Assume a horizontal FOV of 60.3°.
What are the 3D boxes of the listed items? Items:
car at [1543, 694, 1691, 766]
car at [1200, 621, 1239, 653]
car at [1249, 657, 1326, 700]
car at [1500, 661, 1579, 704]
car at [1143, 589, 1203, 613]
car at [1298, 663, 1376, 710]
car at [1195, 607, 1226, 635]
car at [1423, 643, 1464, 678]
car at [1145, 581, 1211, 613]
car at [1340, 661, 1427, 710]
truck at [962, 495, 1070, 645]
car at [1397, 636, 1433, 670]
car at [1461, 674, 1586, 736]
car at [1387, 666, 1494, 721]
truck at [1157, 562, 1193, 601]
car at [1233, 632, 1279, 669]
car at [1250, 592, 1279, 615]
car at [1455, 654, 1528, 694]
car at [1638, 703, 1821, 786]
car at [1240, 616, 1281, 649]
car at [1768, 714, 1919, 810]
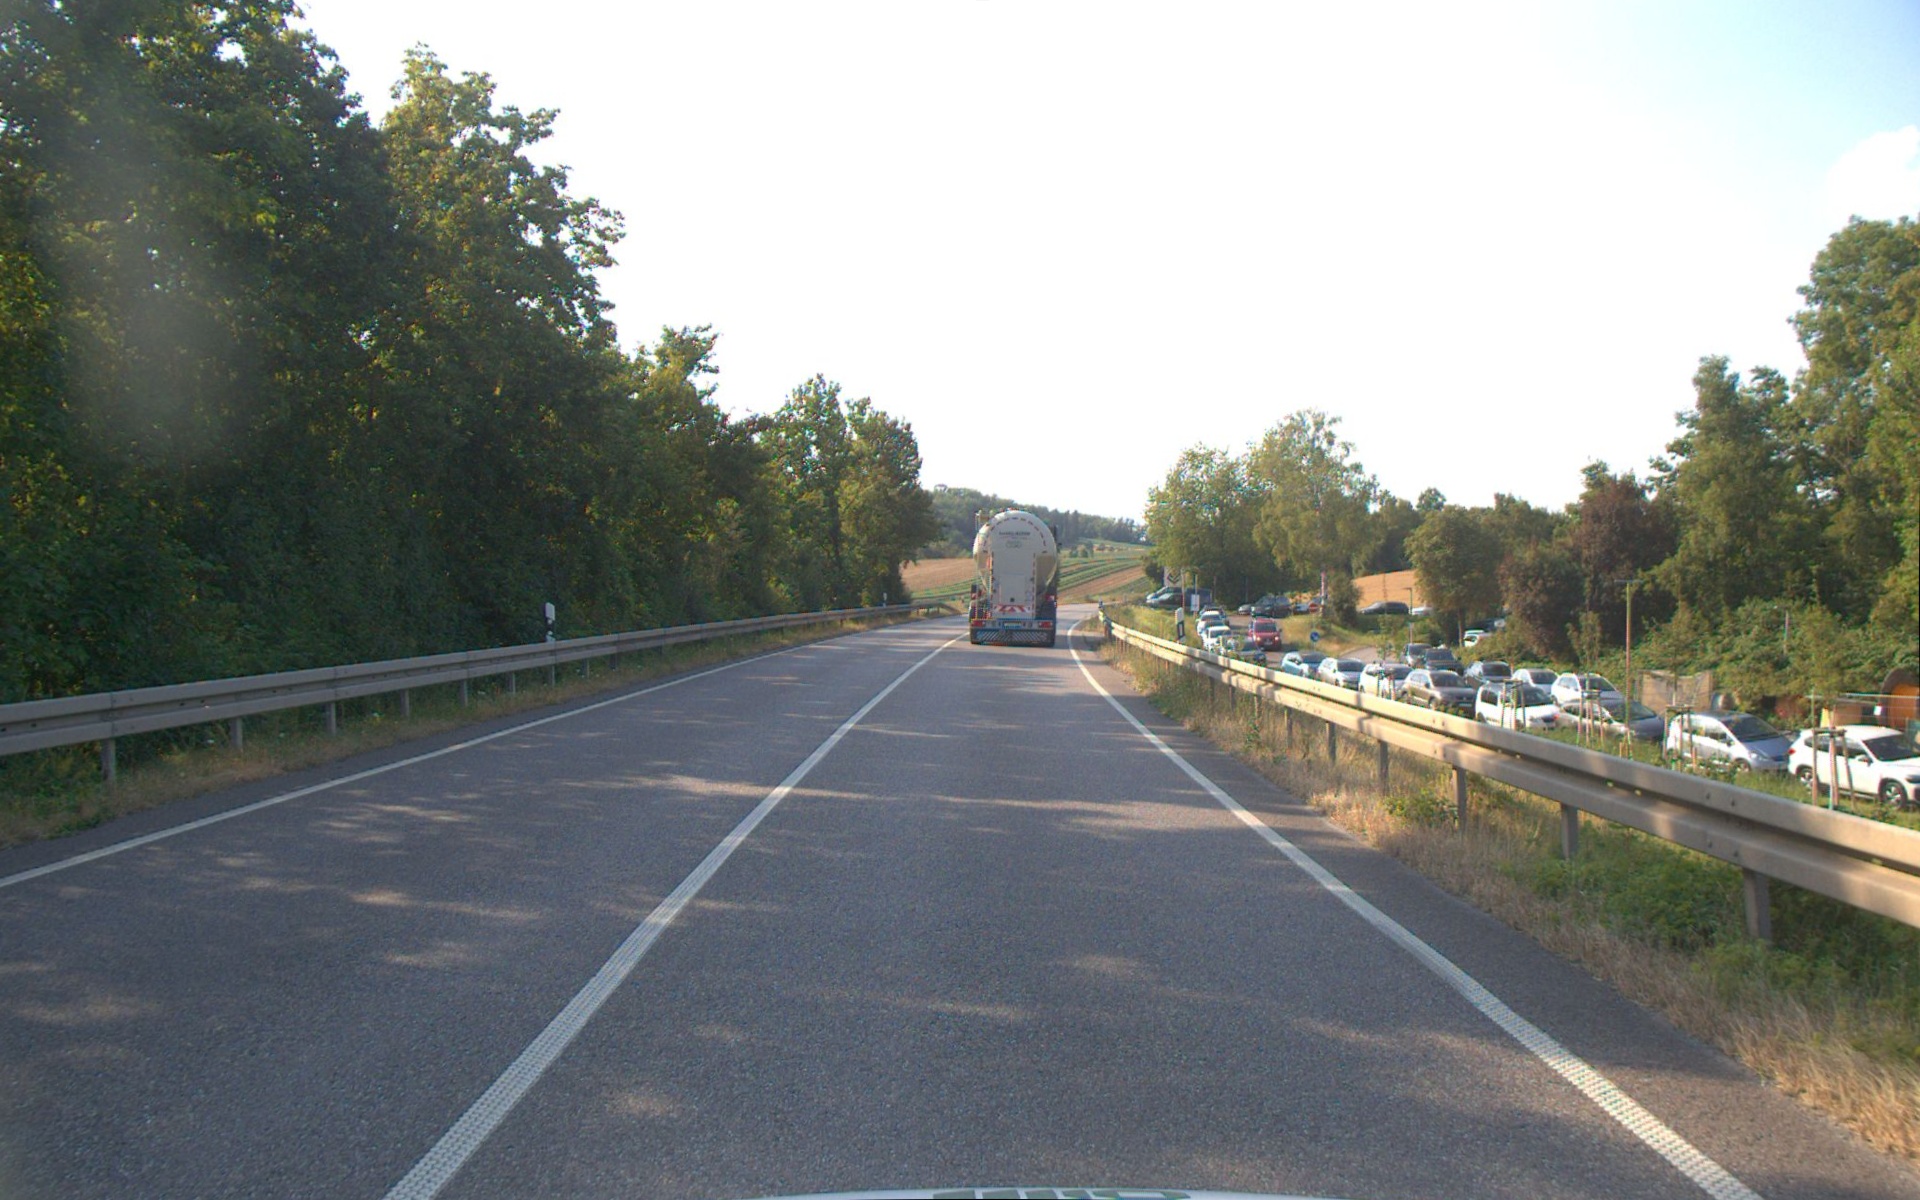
[{"bbox_3d":[19.953,3.918,50.475,1.859,1.586,4.769,-3,2,-11],"label":"car"},{"bbox_3d":[15.974,2.233,102.082,1.852,1.586,4.786,-3,2,3],"label":"car"},{"bbox_3d":[15.666,3.714,79.346,1.859,1.586,4.769,-3,2,-11],"label":"car"},{"bbox_3d":[23.488,3.332,67.179,1.667,1.423,3.943,-3,0,-2],"label":"car"},{"bbox_3d":[16.408,0.082,127.557,4.246,1.423,1.712,4,2,-19],"label":"car"},{"bbox_3d":[16.673,3.816,73.370,1.856,1.586,4.776,-3,2,-7],"label":"car"},{"bbox_3d":[17.177,1.416,113.376,1.851,1.586,4.788,-3,2,11],"label":"car"},{"bbox_3d":[24.034,2.989,82.364,1.665,1.423,4.789,-3,0,13],"label":"car"},{"bbox_3d":[17.324,-0.246,131.329,5.033,1.976,1.977,6,2,8],"label":"car"},{"bbox_3d":[17.467,3.512,68.446,1.856,1.586,4.776,-1,2,-7],"label":"car"},{"bbox_3d":[1.586,-0.882,53.492,2.834,4.215,13.170,1,0,-1],"label":"truck"},{"bbox_3d":[24.373,2.832,88.668,1.665,1.423,4.105,-3,2,13],"label":"car"},{"bbox_3d":[19.183,3.542,56.569,1.859,1.586,4.769,-3,2,-11],"label":"car"},{"bbox_3d":[18.173,3.507,62.725,1.859,1.586,4.769,-3,2,-11],"label":"car"},{"bbox_3d":[24.326,-2.138,186.391,3.115,4.301,13.185,0,1,11],"label":"truck"},{"bbox_3d":[16.270,2.741,91.097,1.852,1.586,4.786,-3,2,3],"label":"car"},{"bbox_3d":[23.431,0.297,127.304,1.852,1.704,4.785,1,-1,6],"label":"car"},{"bbox_3d":[23.246,3.215,72.511,1.666,1.423,4.785,-3,0,1],"label":"car"},{"bbox_3d":[20.702,3.842,44.740,1.861,1.586,4.764,-4,2,-14],"label":"car"},{"bbox_3d":[18.904,2.036,104.215,1.852,1.716,5.090,-3,2,3],"label":"car"},{"bbox_3d":[21.754,3.792,39.368,1.861,1.586,4.764,-4,2,-14],"label":"car"}]
